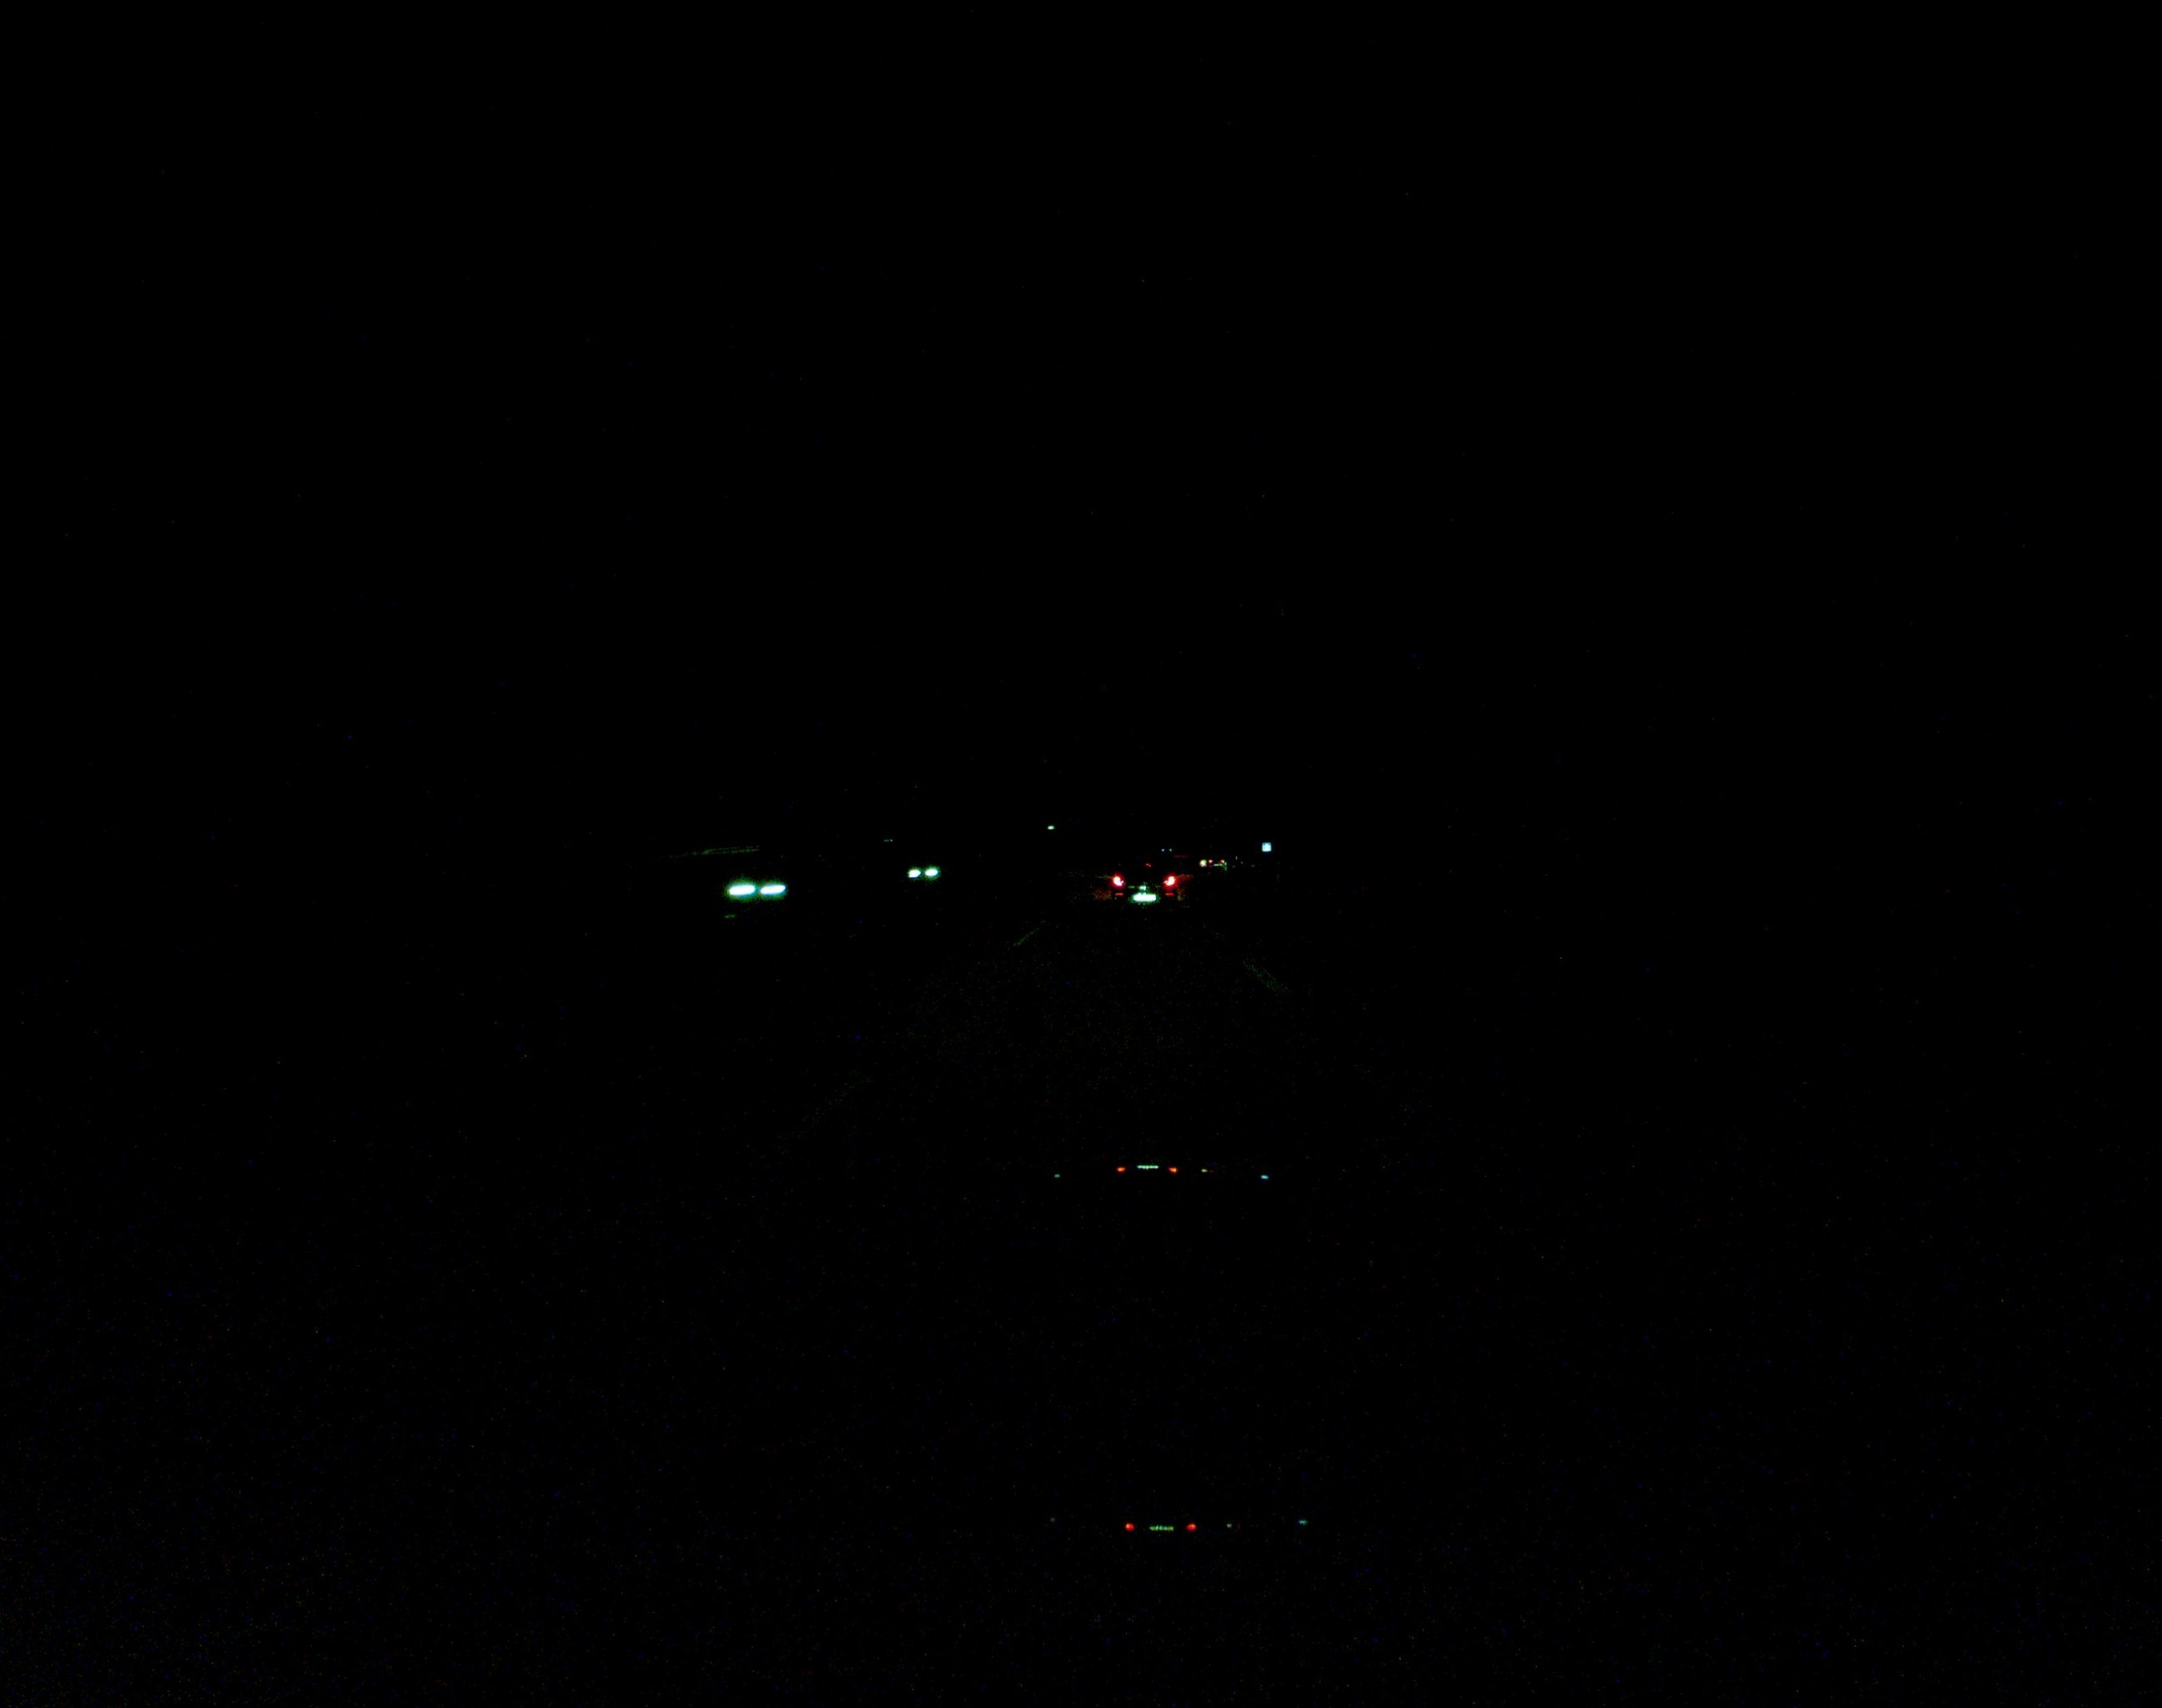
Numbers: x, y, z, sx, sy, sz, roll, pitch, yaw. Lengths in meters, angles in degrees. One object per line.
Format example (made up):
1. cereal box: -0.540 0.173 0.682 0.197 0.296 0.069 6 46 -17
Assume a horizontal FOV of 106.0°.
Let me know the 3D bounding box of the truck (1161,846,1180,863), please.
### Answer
1. truck: 23.234 0.105 211.382 2.659 4.044 10.704 -2 0 18

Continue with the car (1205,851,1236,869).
1. car: 14.926 0.618 87.015 1.914 1.816 4.290 -2 0 28

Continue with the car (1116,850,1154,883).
1. car: 2.929 0.649 44.543 1.899 1.698 4.003 -2 0 3

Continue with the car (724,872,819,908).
1. car: -12.772 1.457 33.947 1.984 1.271 4.300 -2 0 4

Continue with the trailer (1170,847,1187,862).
1. trailer: 26.475 0.096 220.686 2.695 3.956 9.090 -2 0 18

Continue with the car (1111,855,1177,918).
1. car: 1.592 0.770 21.526 1.582 1.508 4.002 0 0 2

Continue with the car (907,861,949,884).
1. car: -11.384 1.362 60.818 1.984 1.557 4.300 -2 0 4
